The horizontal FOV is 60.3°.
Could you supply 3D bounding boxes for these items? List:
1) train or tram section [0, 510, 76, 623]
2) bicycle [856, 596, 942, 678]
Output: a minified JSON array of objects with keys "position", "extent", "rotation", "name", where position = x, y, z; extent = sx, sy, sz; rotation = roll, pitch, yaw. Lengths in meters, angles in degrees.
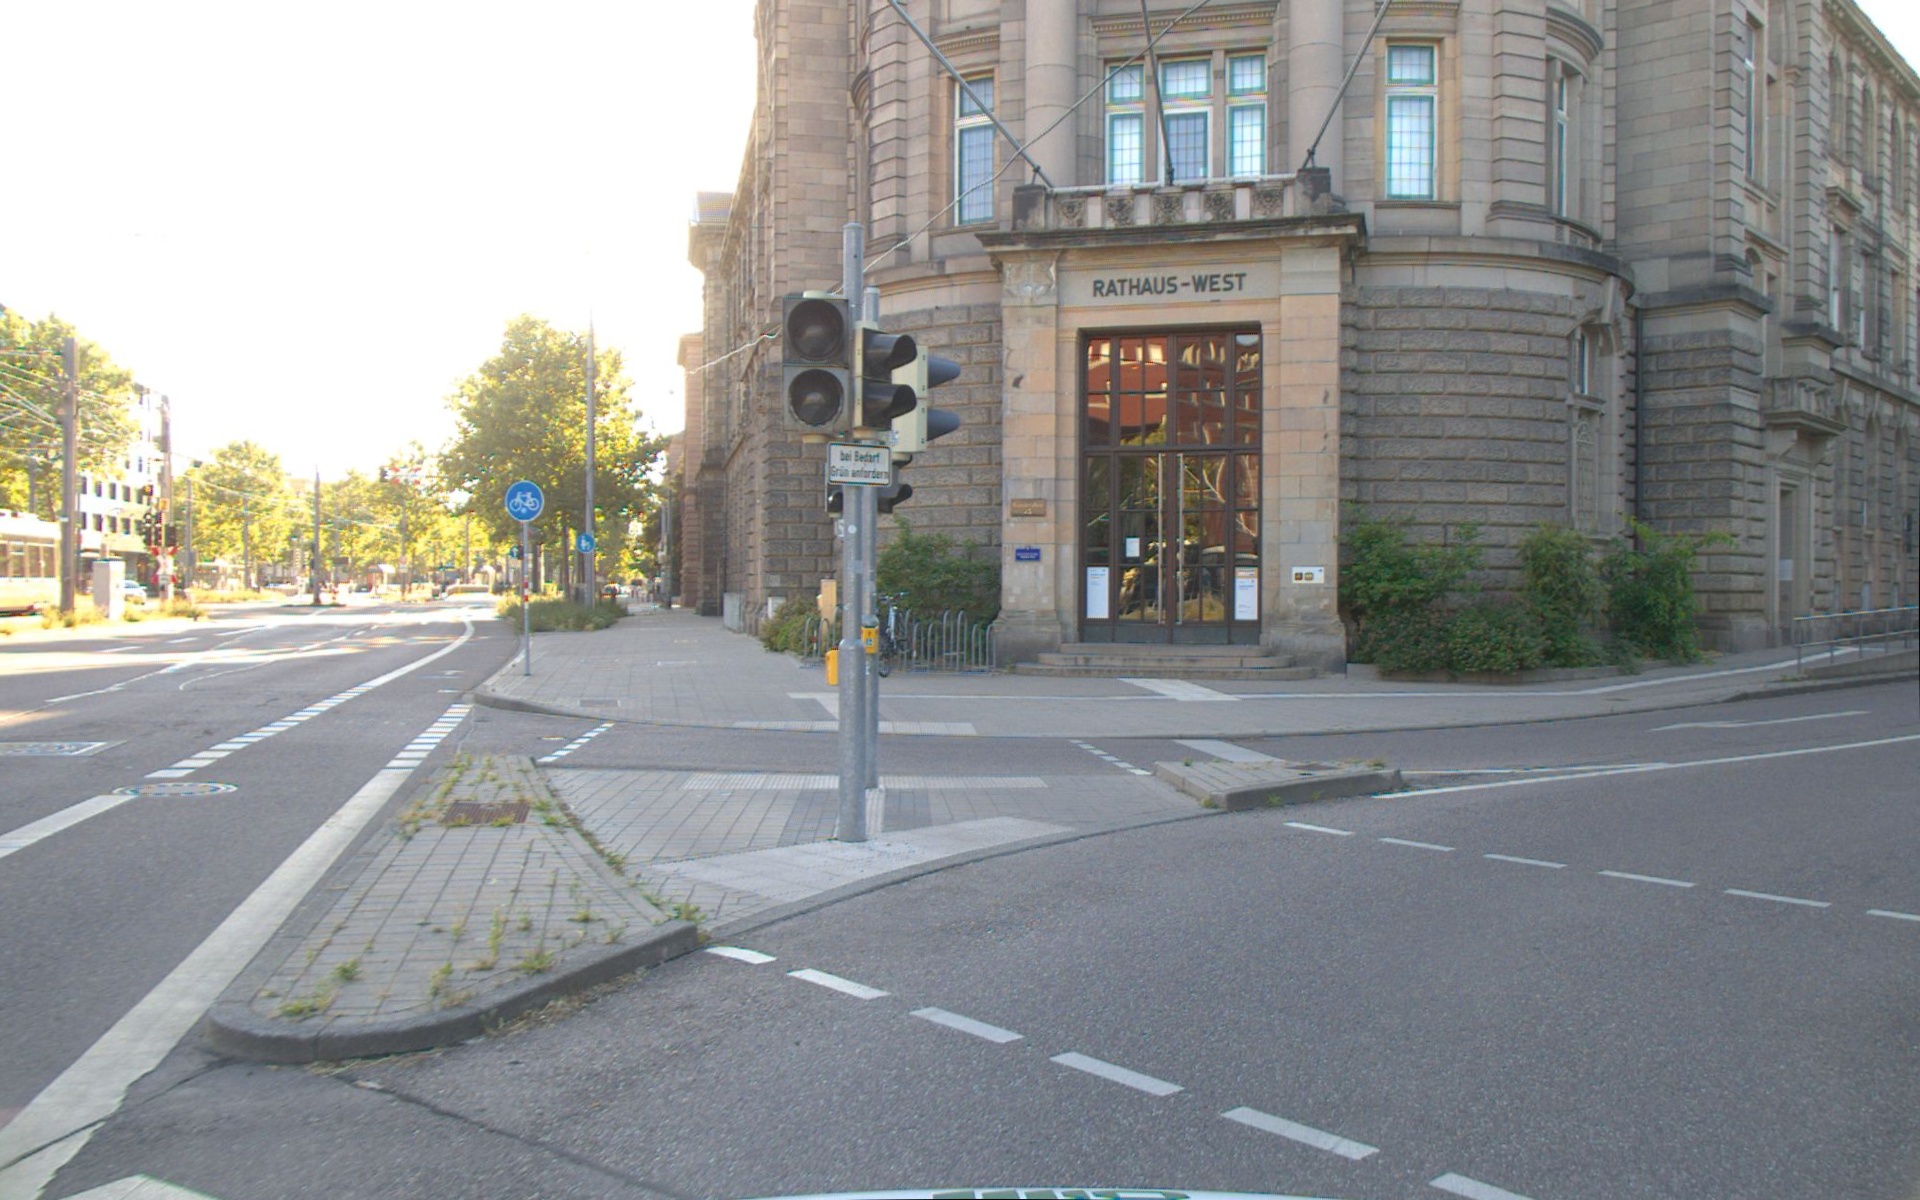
[{"position":[-31.999,-1.074,51.589],"extent":[3.059,3.621,19.858],"rotation":[0,0,-14],"name":"train or tram section"},{"position":[-0.930,0.543,25.864],"extent":[0.848,1.217,2.241],"rotation":[0,0,11],"name":"bicycle"}]
